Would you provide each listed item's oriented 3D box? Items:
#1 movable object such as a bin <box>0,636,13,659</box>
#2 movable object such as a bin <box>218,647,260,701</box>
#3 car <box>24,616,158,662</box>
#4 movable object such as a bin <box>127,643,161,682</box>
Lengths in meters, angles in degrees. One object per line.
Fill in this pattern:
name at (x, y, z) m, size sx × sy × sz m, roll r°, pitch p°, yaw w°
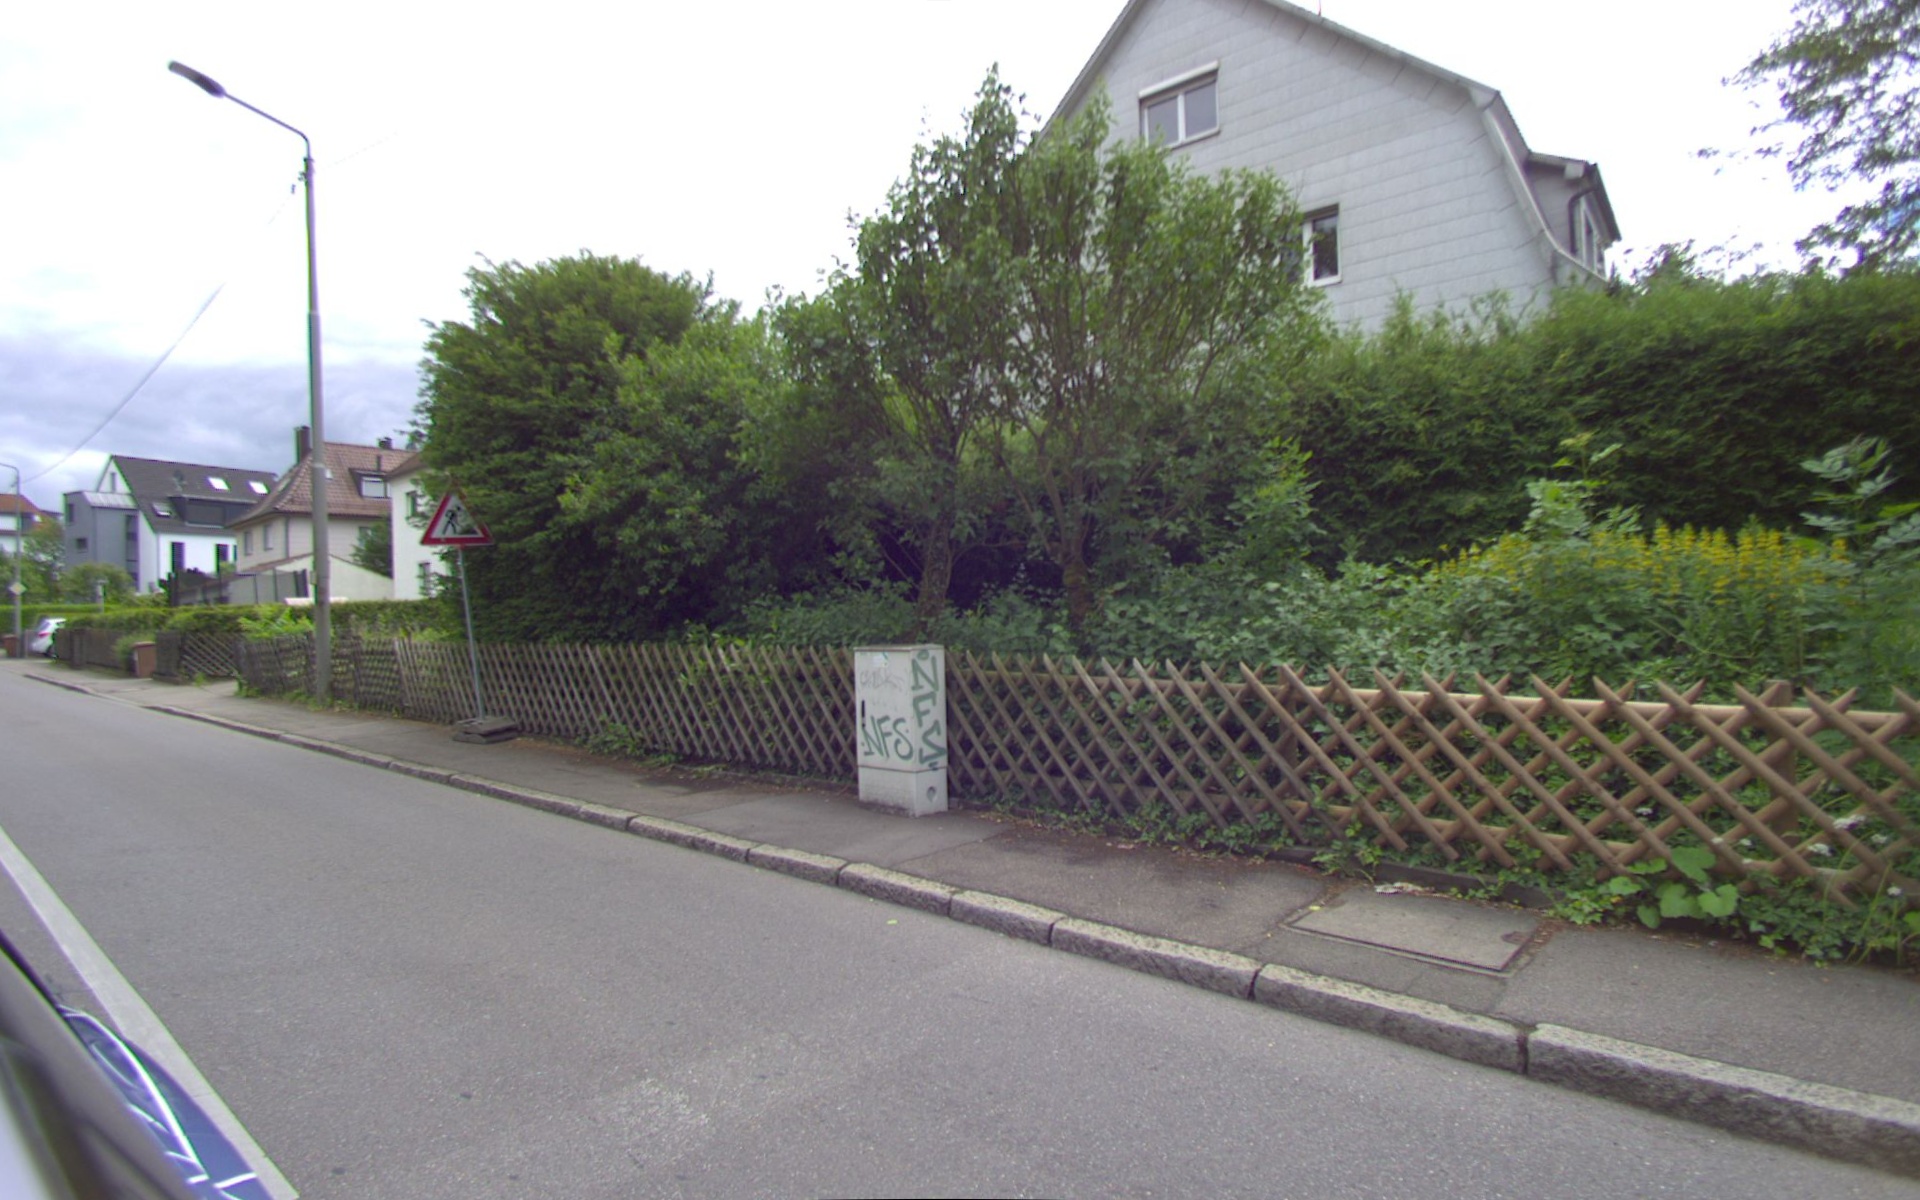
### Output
movable object such as a bin at (-39.573, 1.961, 41.764) m, size 0.571 × 0.961 × 0.681 m, roll -2°, pitch -1°, yaw 40°
movable object such as a bin at (-13.475, 1.374, 18.913) m, size 0.537 × 0.945 × 0.544 m, roll -2°, pitch -1°, yaw 43°
car at (-35.670, 1.573, 41.629) m, size 1.718 × 1.605 × 3.946 m, roll -2°, pitch 1°, yaw 41°
movable object such as a bin at (-20.536, 1.560, 25.478) m, size 0.625 × 0.920 × 0.561 m, roll -2°, pitch 0°, yaw -38°
